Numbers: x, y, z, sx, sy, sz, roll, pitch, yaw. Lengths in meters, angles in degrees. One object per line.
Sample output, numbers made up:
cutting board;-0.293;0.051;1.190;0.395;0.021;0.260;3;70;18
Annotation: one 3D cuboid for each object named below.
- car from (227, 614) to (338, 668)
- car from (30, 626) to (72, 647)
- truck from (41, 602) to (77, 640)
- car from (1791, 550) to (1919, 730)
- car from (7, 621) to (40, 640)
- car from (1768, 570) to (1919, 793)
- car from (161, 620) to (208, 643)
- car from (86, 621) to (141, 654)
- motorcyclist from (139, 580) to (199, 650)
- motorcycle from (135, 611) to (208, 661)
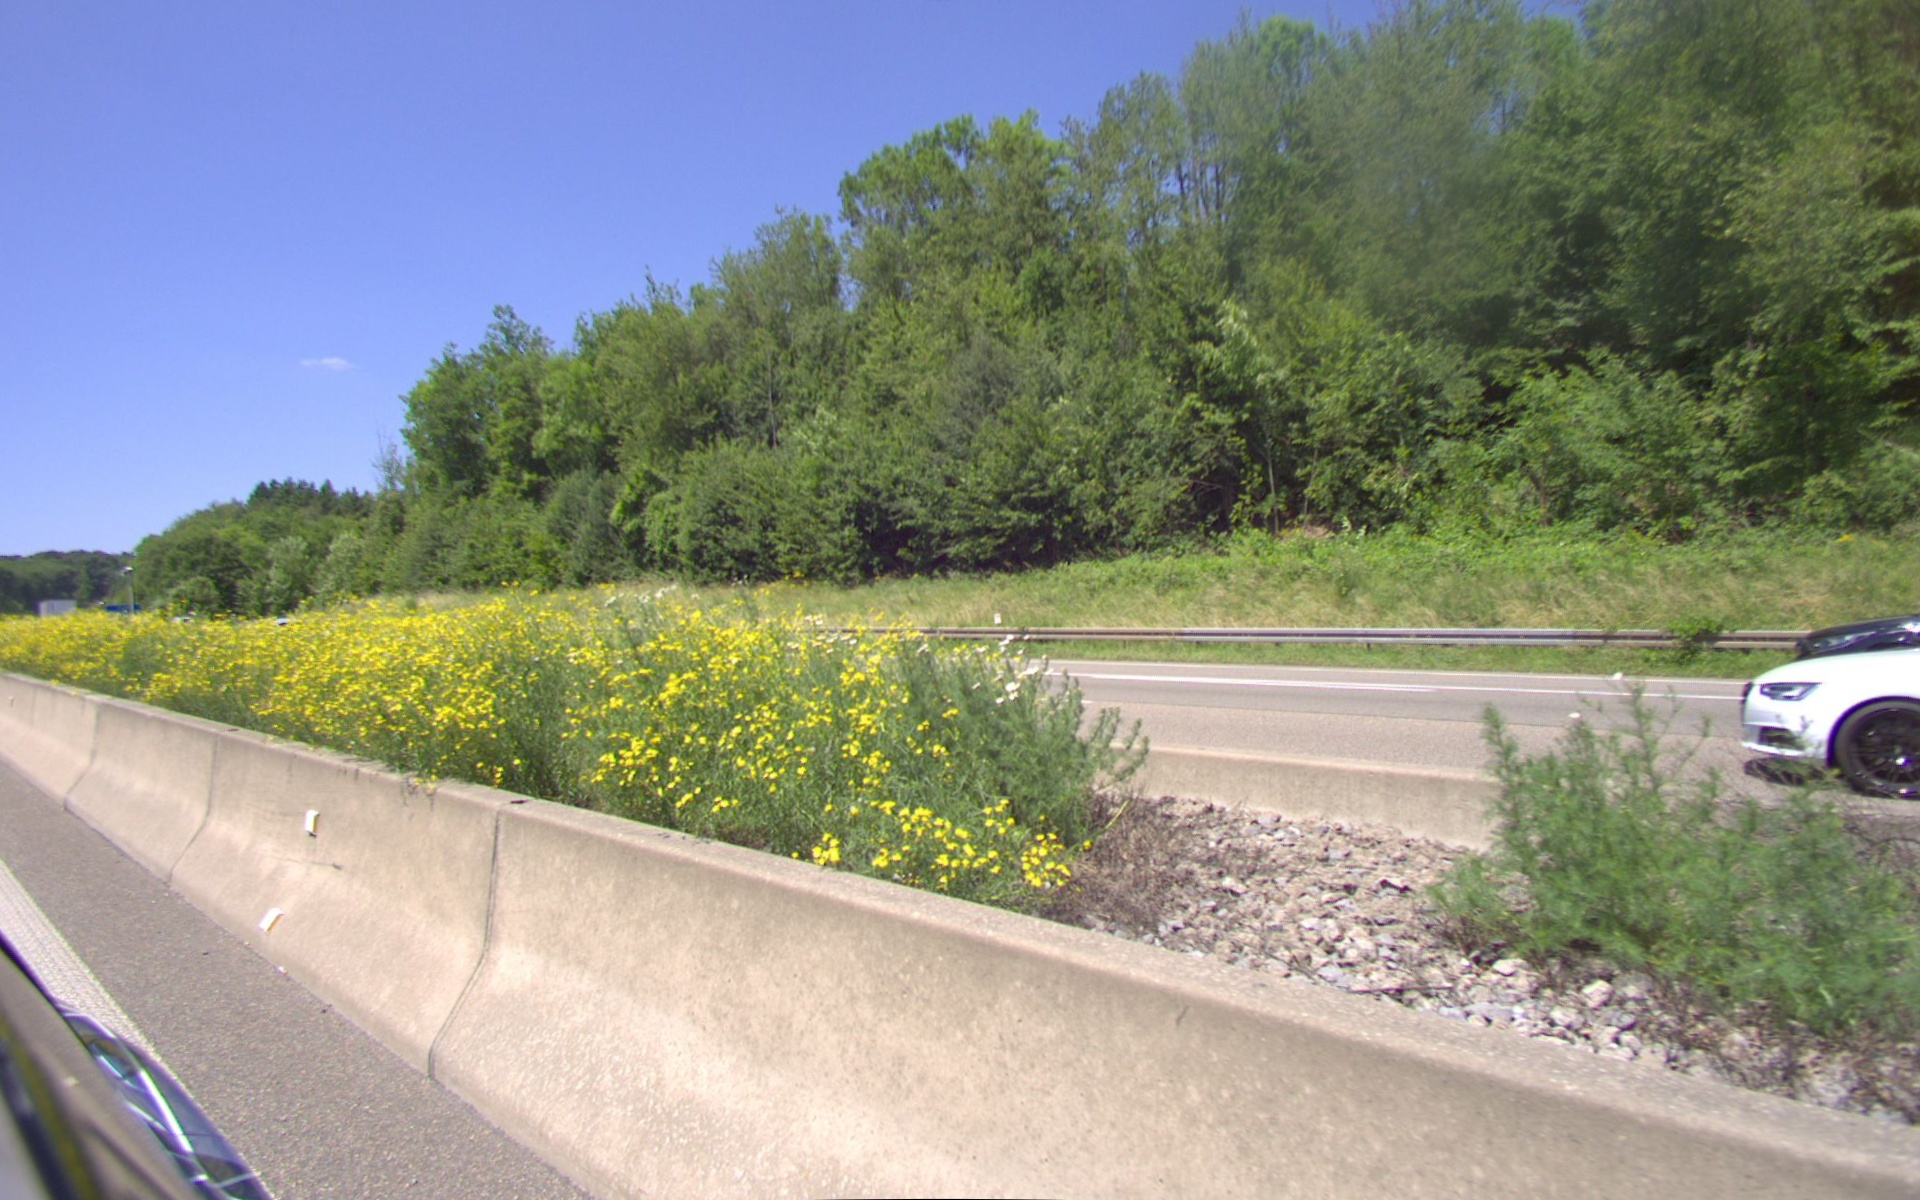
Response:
car;-21.285;1.249;31.734;4.355;1.533;1.820;-2;-1;41
car;-71.807;2.861;79.922;4.063;1.584;1.973;-2;-1;42
truck;-100.924;2.405;113.496;2.794;3.968;13.764;-1;-1;-41
car;10.623;0.344;9.399;4.420;1.708;1.737;-2;-1;41
car;-89.999;2.937;97.226;4.275;1.768;1.865;-2;-1;42
car;7.963;0.490;6.220;4.607;1.450;1.737;-2;-1;41
car;-59.152;2.404;77.207;4.765;1.705;1.973;-2;-1;42
car;-47.618;2.089;56.922;4.146;1.746;1.719;-2;-1;41
motorcyclist;-20.853;0.395;26.673;1.283;1.799;1.021;-2;-1;41
motorcycle;-20.760;0.933;26.615;2.612;1.224;1.029;-2;-1;41
